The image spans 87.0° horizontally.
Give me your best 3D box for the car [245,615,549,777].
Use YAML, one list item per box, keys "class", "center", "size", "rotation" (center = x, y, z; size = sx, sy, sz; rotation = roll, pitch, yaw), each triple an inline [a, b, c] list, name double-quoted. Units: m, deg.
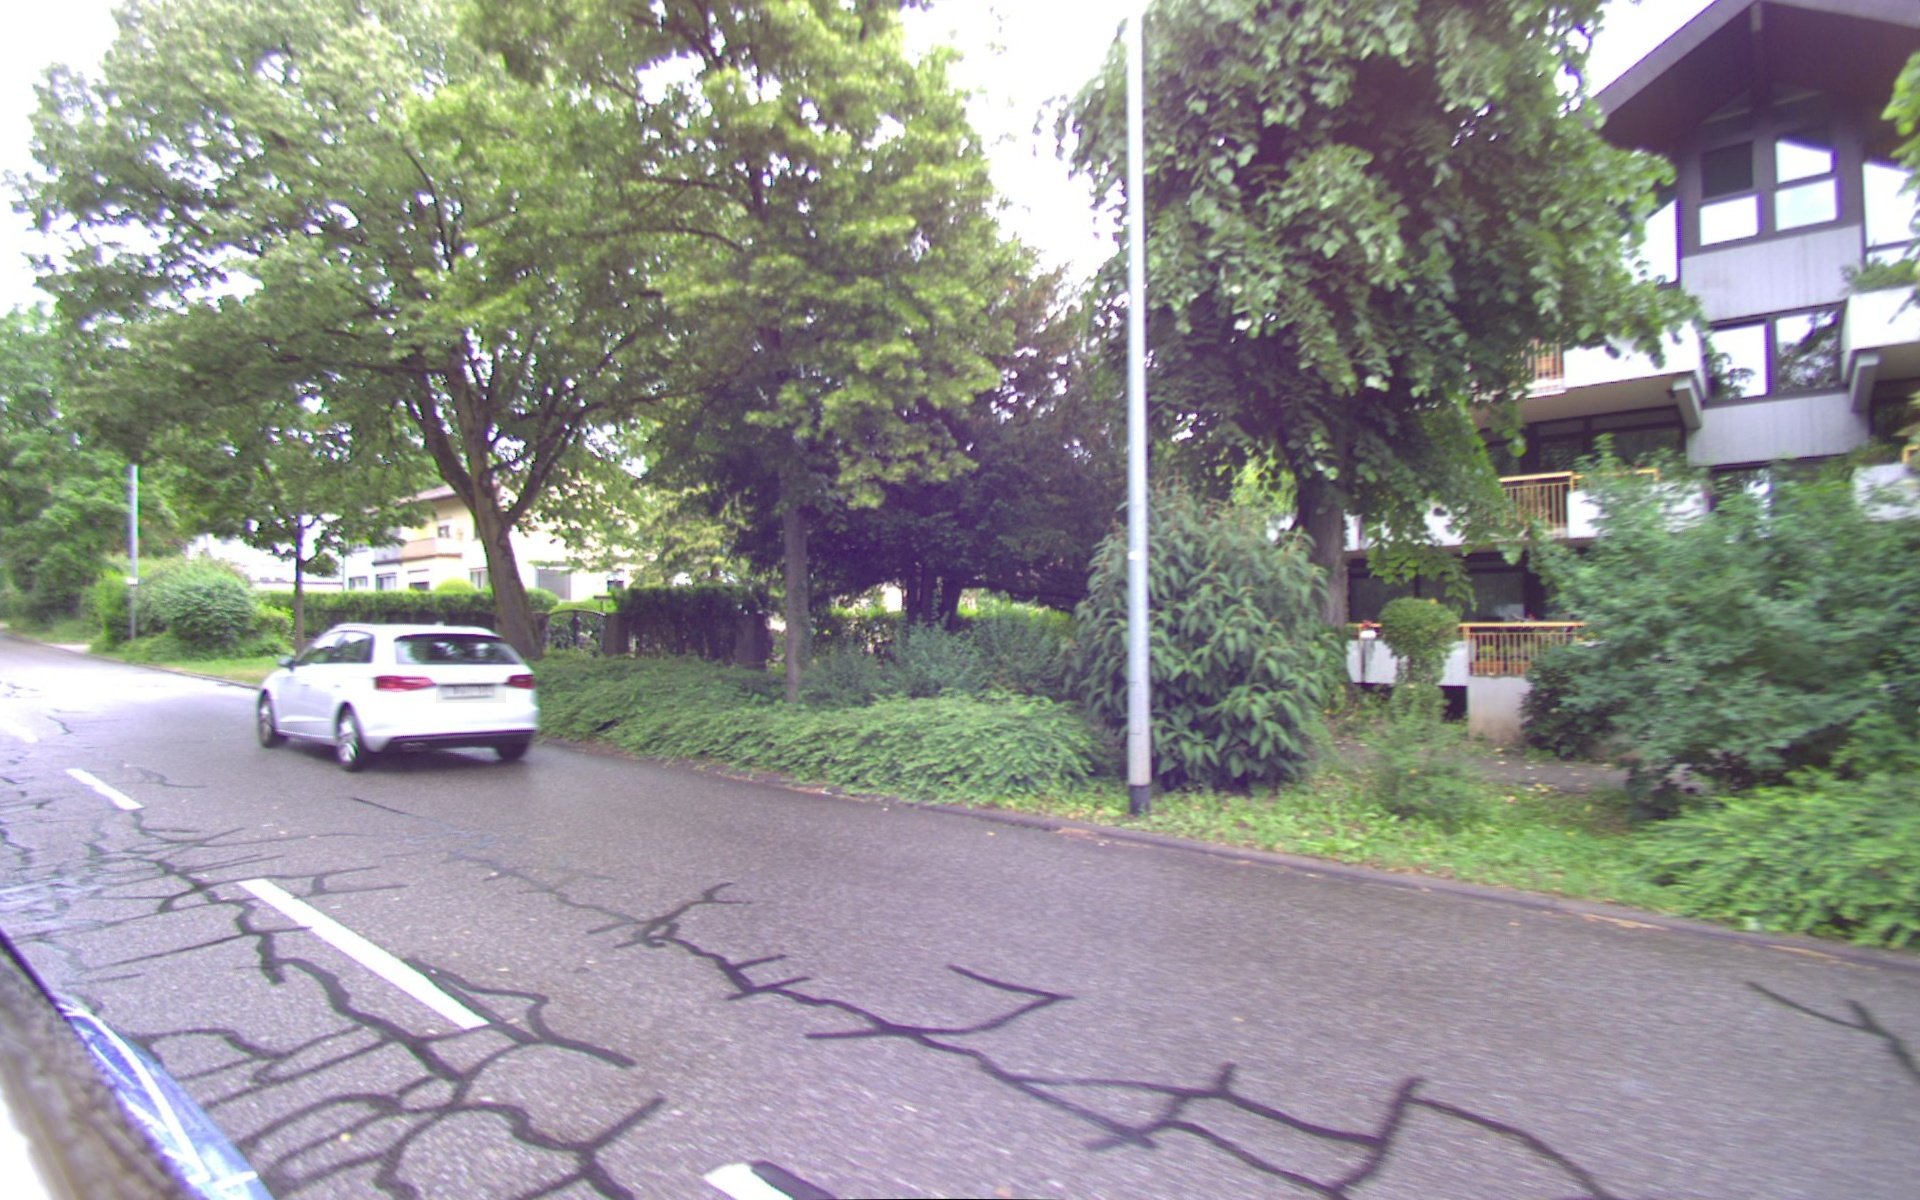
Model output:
- class: "car"
  center: [-6.167, 0.935, 10.900]
  size: [4.006, 1.438, 1.591]
  rotation: [-2, -3, 41]
